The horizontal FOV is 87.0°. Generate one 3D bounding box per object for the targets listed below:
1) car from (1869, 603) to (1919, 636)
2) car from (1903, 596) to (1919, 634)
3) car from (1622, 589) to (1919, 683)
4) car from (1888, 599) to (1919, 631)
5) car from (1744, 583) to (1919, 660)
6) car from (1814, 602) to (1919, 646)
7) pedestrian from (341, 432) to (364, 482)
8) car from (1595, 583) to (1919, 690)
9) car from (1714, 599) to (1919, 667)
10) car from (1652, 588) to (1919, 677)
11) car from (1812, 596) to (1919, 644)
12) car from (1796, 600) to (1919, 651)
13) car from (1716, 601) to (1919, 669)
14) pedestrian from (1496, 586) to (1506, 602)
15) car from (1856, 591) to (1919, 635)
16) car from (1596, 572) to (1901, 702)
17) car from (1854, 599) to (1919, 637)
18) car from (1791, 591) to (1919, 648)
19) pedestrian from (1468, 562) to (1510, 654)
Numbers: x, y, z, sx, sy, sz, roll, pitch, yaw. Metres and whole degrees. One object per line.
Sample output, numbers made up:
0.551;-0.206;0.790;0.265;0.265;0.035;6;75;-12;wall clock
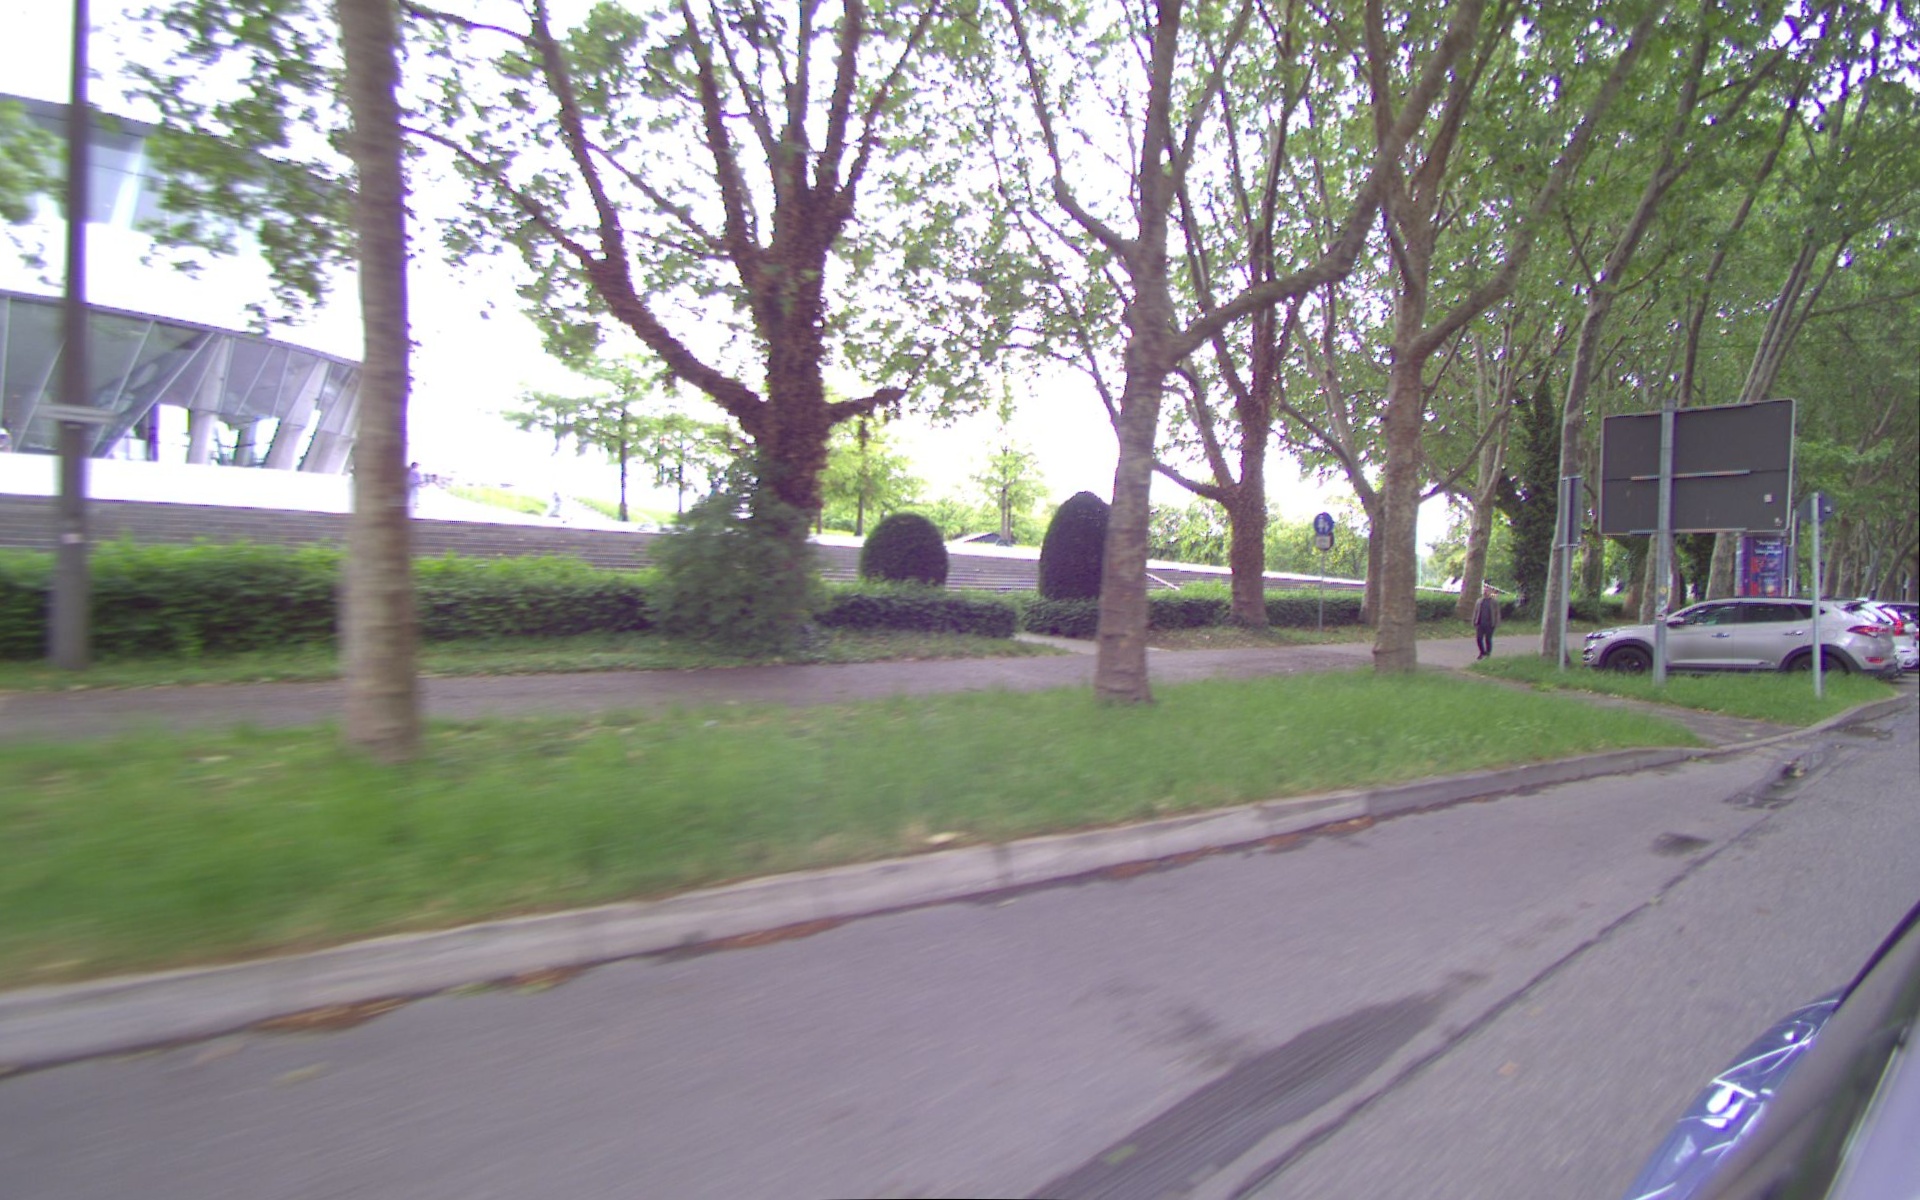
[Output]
42.941;0.883;44.289;1.796;1.437;4.504;0;0;-40;car
48.421;0.759;48.541;2.012;1.819;4.502;1;0;-42;car
15.724;0.614;19.754;1.892;1.625;4.353;1;0;-41;car
44.942;0.713;45.532;1.898;1.446;4.503;0;0;-41;car
23.015;0.512;25.948;1.893;1.782;4.352;1;2;-43;car
31.926;0.813;34.553;1.713;1.397;4.047;1;0;-41;car
-23.295;-5.474;38.842;0.667;1.787;0.838;0;1;-25;pedestrian
13.967;0.549;17.852;1.892;1.654;4.353;1;0;-41;car
21.151;0.759;24.547;1.916;1.474;4.351;1;0;-43;car
17.350;0.606;21.225;1.892;1.654;4.353;1;0;-41;car
33.737;0.717;36.323;1.839;1.660;4.601;1;0;-39;car
28.528;0.759;31.123;1.697;1.476;4.156;1;0;-41;car
19.822;0.745;23.210;1.746;1.420;3.735;0;0;-42;car
58.685;-0.655;109.859;0.685;1.664;0.725;0;1;-36;pedestrian
41.347;0.563;43.067;2.009;1.819;4.507;1;0;-37;car
13.873;0.571;17.974;1.965;2.039;3.994;1;0;-41;car
39.275;0.745;40.968;1.890;1.521;4.356;1;0;-38;car
30.132;0.633;33.128;1.806;1.768;4.351;1;0;-43;car
11.878;0.163;22.725;0.781;2.039;0.592;1;1;32;pedestrian
